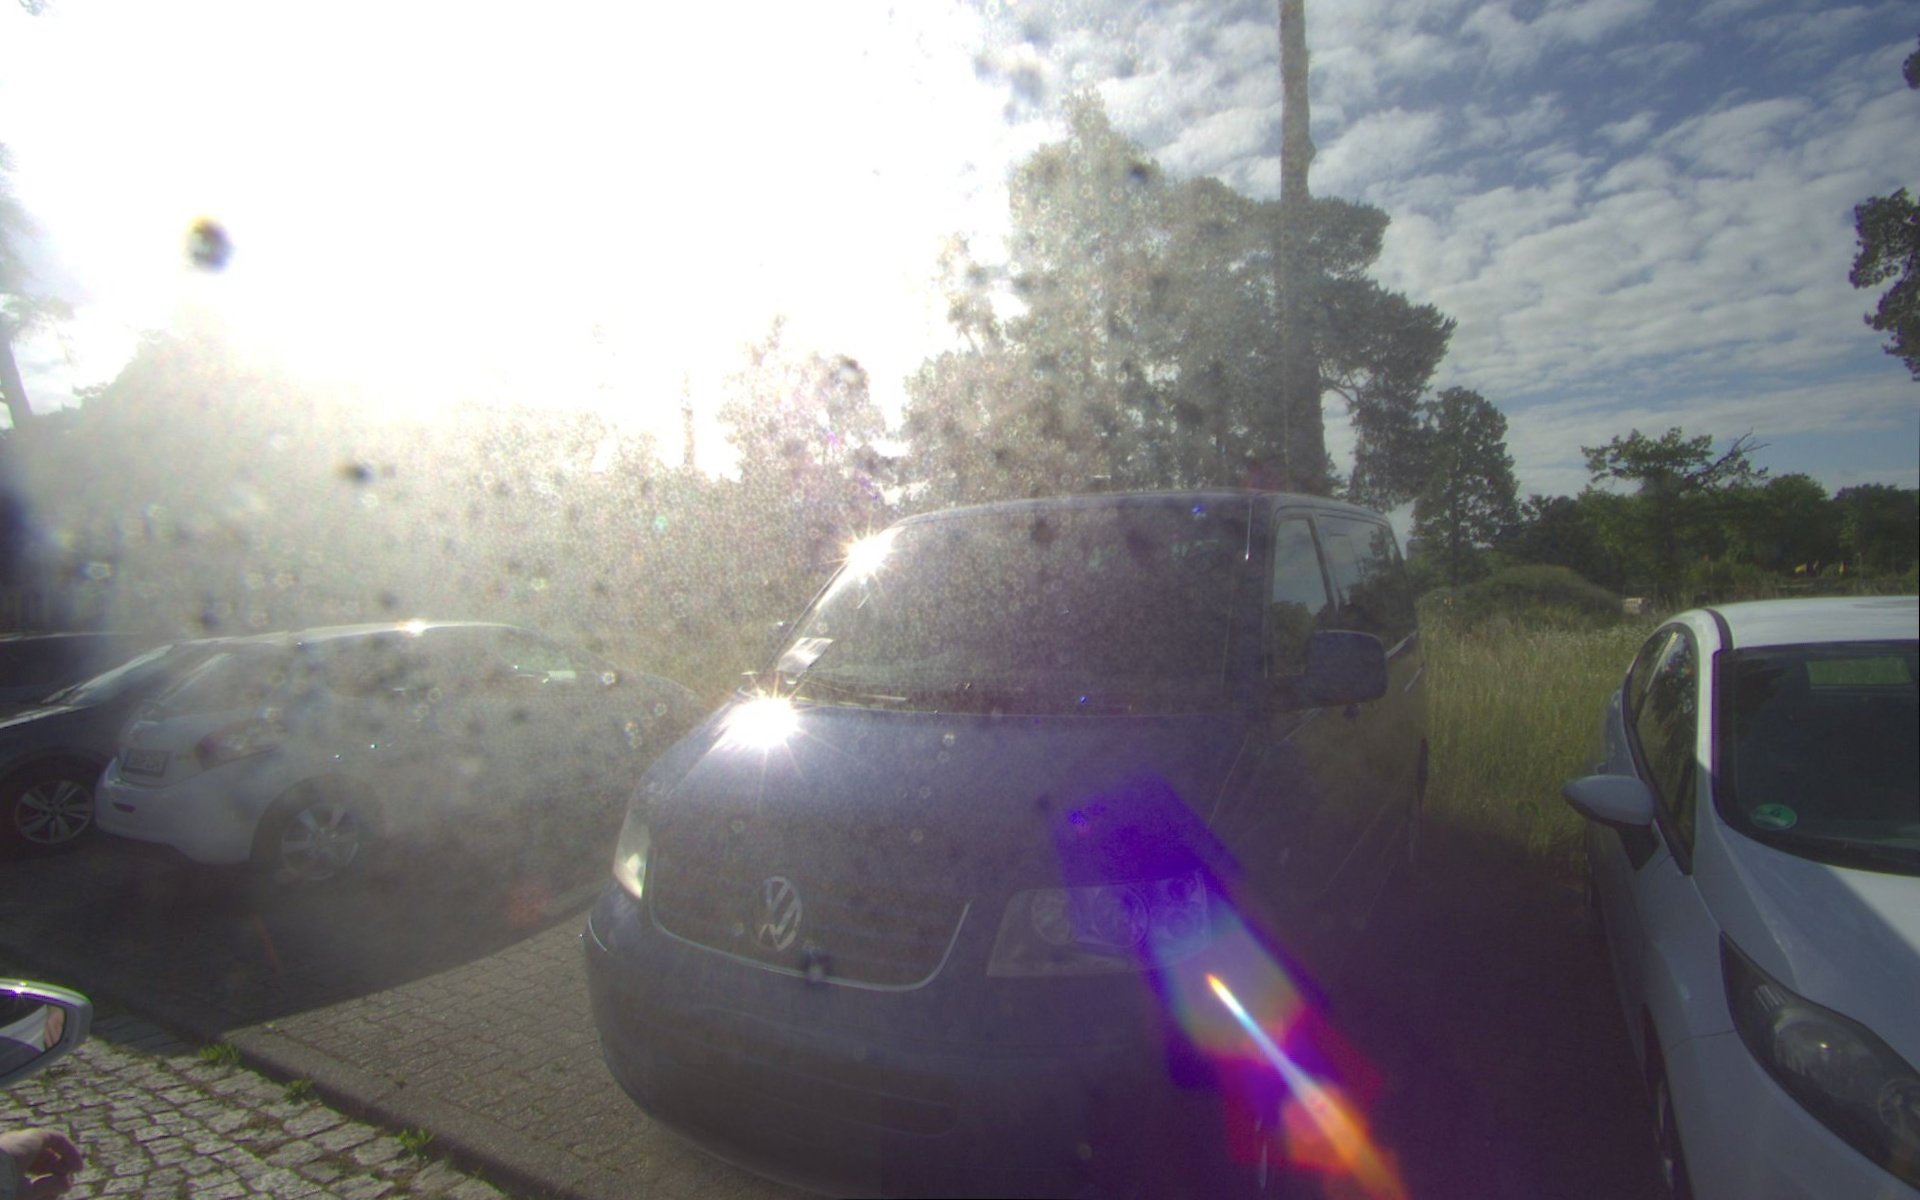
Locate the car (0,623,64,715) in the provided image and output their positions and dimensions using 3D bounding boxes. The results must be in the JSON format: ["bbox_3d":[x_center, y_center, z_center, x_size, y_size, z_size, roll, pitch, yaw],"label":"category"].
[{"bbox_3d":[-16.739,1.170,15.067,1.613,1.434,4.549,-1,1,32],"label":"car"}]

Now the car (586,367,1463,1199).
[{"bbox_3d":[0.956,0.490,4.491,1.971,1.961,4.688,-1,1,31],"label":"car"}]

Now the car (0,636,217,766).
[{"bbox_3d":[-10.818,1.140,11.152,1.721,1.240,3.698,-1,1,32],"label":"car"}]

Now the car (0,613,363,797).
[{"bbox_3d":[-8.445,0.941,10.123,1.790,1.468,3.699,-1,1,31],"label":"car"}]

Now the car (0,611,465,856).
[{"bbox_3d":[-6.307,0.896,8.089,1.829,1.468,3.698,-1,1,32],"label":"car"}]

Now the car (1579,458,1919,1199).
[{"bbox_3d":[3.217,0.490,3.295,1.911,1.598,4.388,-1,1,31],"label":"car"}]

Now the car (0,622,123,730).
[{"bbox_3d":[-14.495,1.124,13.607,1.755,1.434,4.421,-1,1,32],"label":"car"}]

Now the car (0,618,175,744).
[{"bbox_3d":[-12.630,1.055,12.504,1.613,1.468,4.118,-1,1,32],"label":"car"}]

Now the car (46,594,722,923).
[{"bbox_3d":[-3.656,0.792,7.019,1.736,1.555,3.698,-1,1,32],"label":"car"}]
